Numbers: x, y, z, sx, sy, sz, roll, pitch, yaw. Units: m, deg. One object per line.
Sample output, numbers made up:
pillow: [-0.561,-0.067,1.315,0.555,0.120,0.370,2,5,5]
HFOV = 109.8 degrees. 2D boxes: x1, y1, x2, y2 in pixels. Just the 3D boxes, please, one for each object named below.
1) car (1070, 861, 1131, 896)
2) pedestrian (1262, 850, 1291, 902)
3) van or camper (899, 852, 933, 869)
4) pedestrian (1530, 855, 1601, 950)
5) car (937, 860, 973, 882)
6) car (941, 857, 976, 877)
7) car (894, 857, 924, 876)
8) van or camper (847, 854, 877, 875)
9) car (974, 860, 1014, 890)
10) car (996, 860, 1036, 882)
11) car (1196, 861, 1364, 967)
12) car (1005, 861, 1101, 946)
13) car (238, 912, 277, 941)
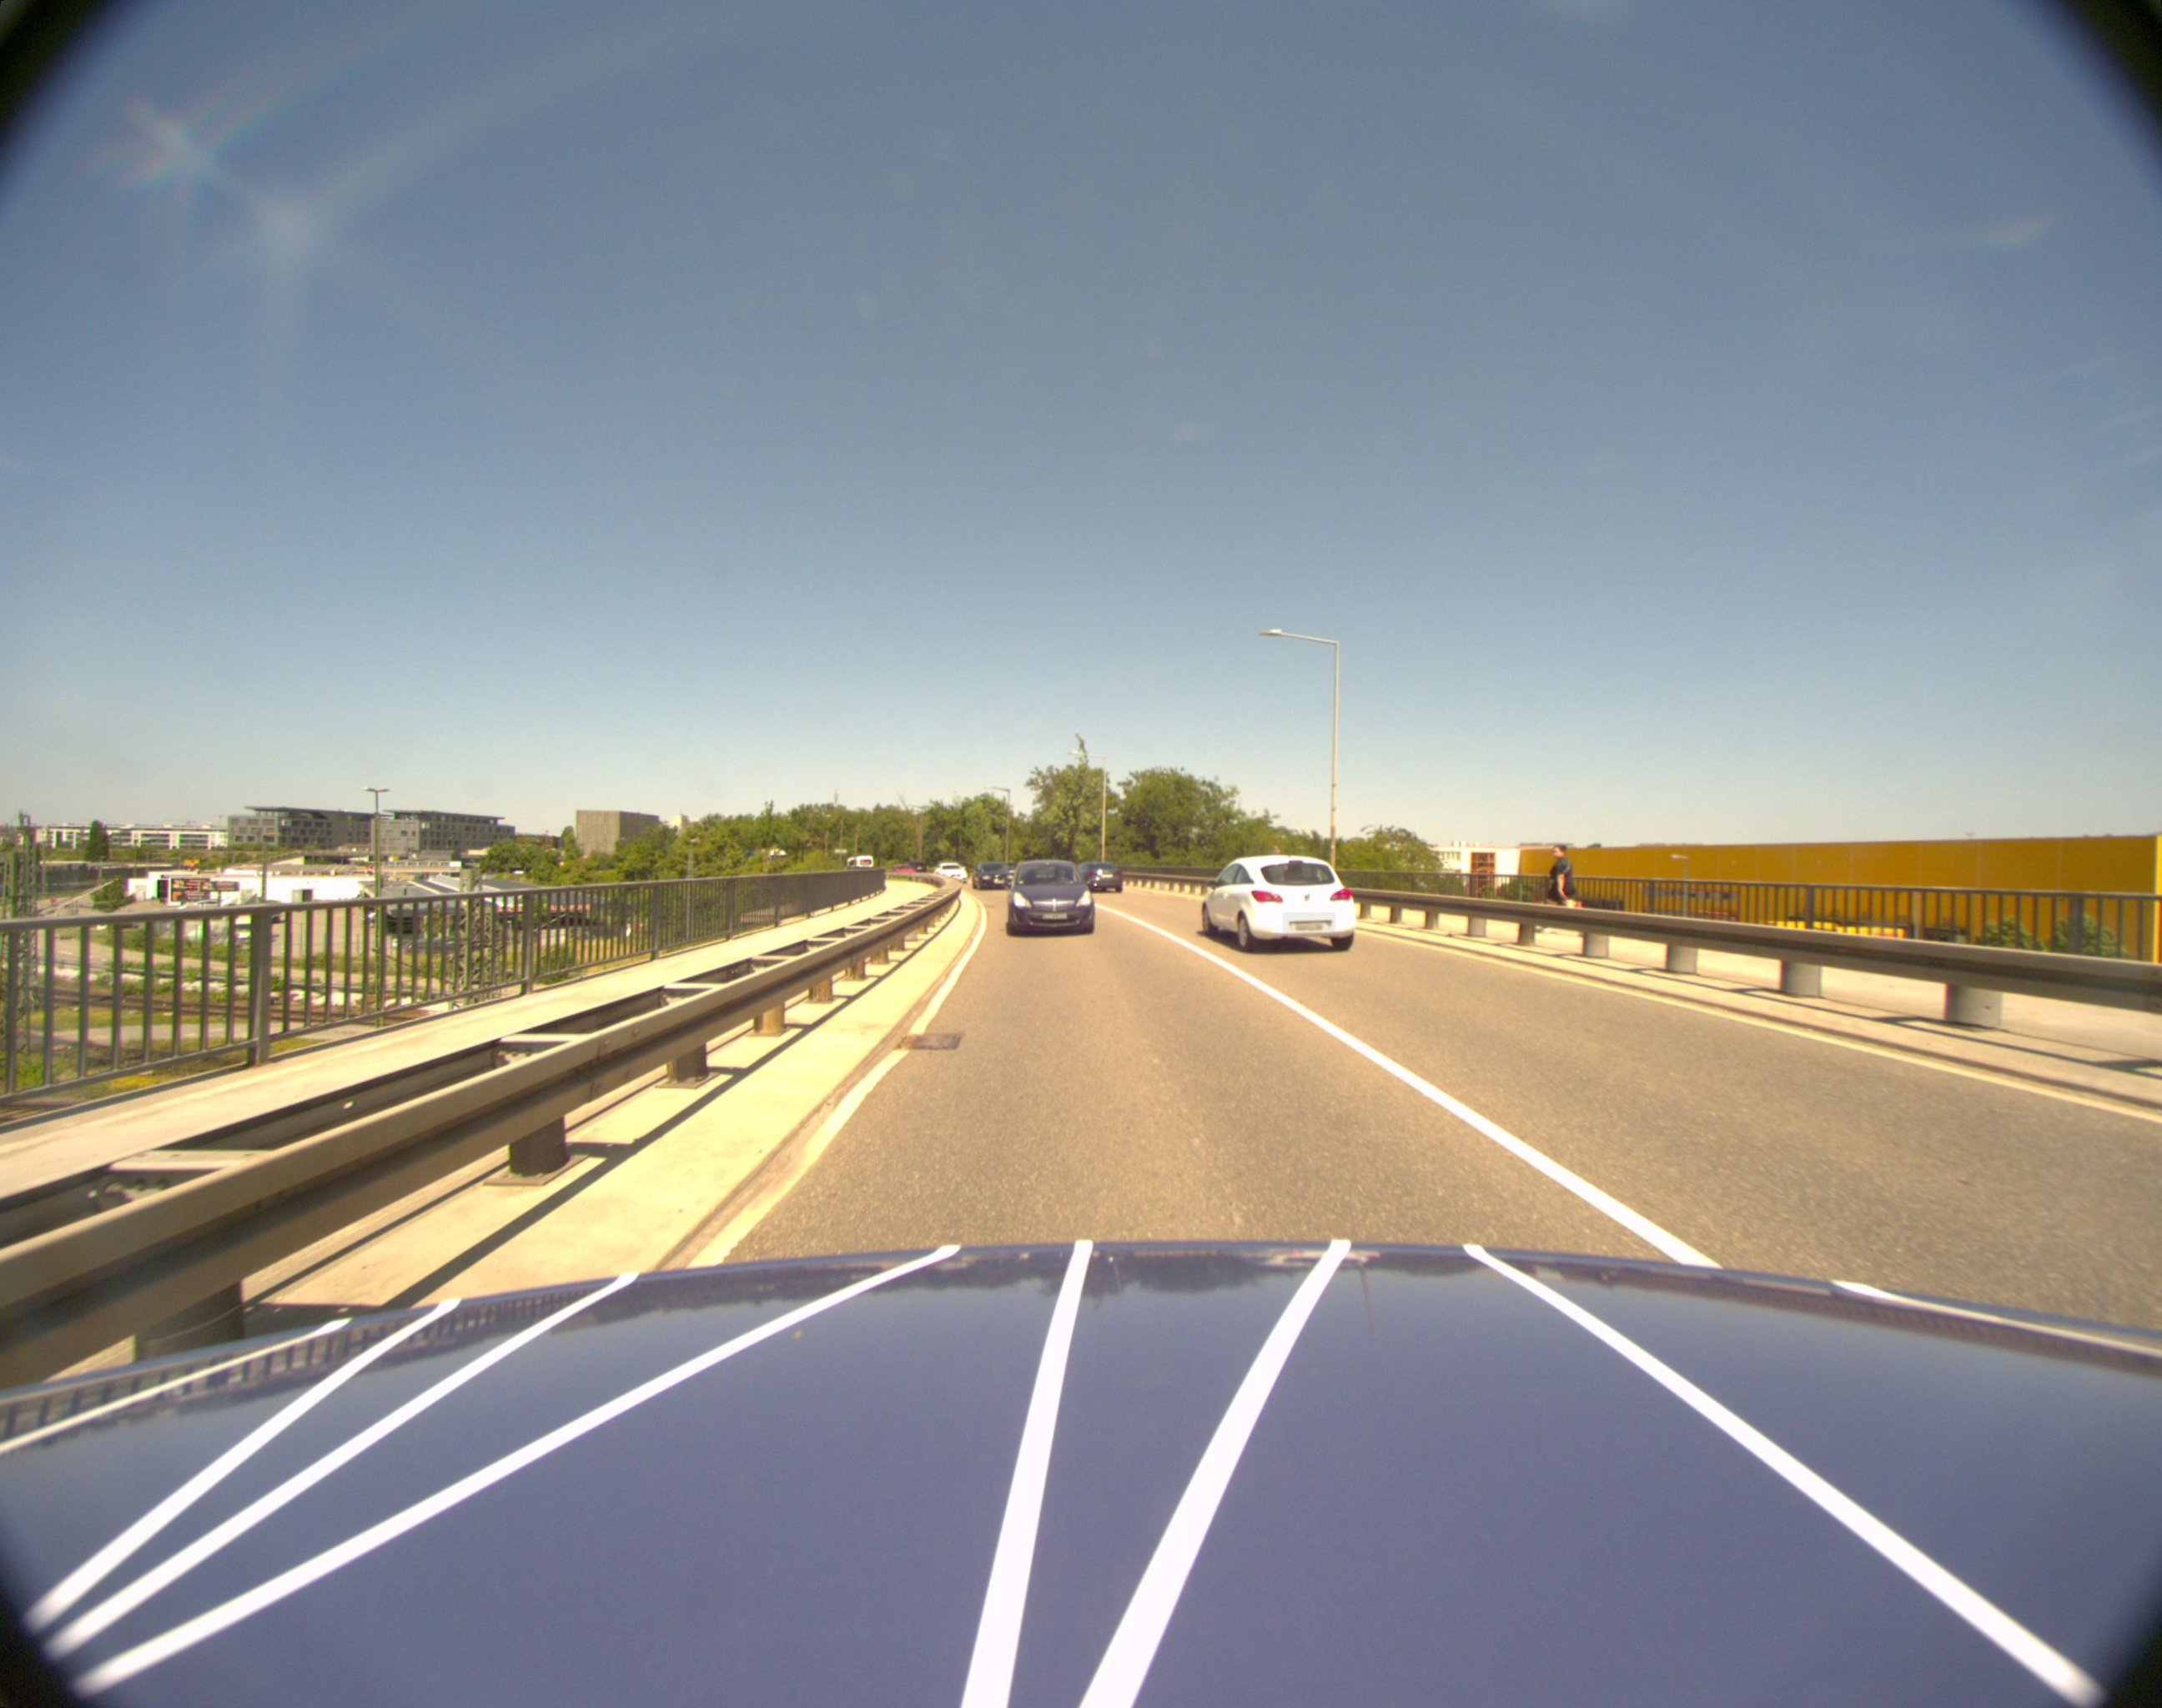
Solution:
car: [0.800,1.067,34.652,1.796,1.407,4.570,0,1,-11]
pedestrian: [6.811,0.739,26.491,0.640,1.772,0.811,-2,1,-10]
van or camper: [-17.430,0.642,80.108,2.003,1.750,4.686,0,1,-32]
pedestrian: [8.239,0.805,12.944,0.716,1.552,0.694,1,1,-2]
car: [-8.799,1.173,52.844,1.819,1.419,3.709,-2,0,-19]
car: [-10.905,1.123,67.345,1.904,1.645,4.248,-1,1,-26]
car: [-16.122,1.104,71.051,1.904,1.645,4.249,-1,1,-23]
van or camper: [-27.913,1.333,96.768,2.058,2.523,5.869,-2,1,-33]
car: [-4.531,1.036,39.182,1.571,1.408,4.118,-2,0,-13]
car: [-4.628,1.150,53.479,1.797,1.411,3.766,0,1,-21]
car: [3.185,0.897,12.981,1.730,1.475,3.865,0,0,-2]
car: [-0.681,0.915,16.002,1.699,1.459,4.381,-2,0,-5]
car: [-79.676,7.000,73.587,2.156,2.339,4.916,-7,3,-44]
